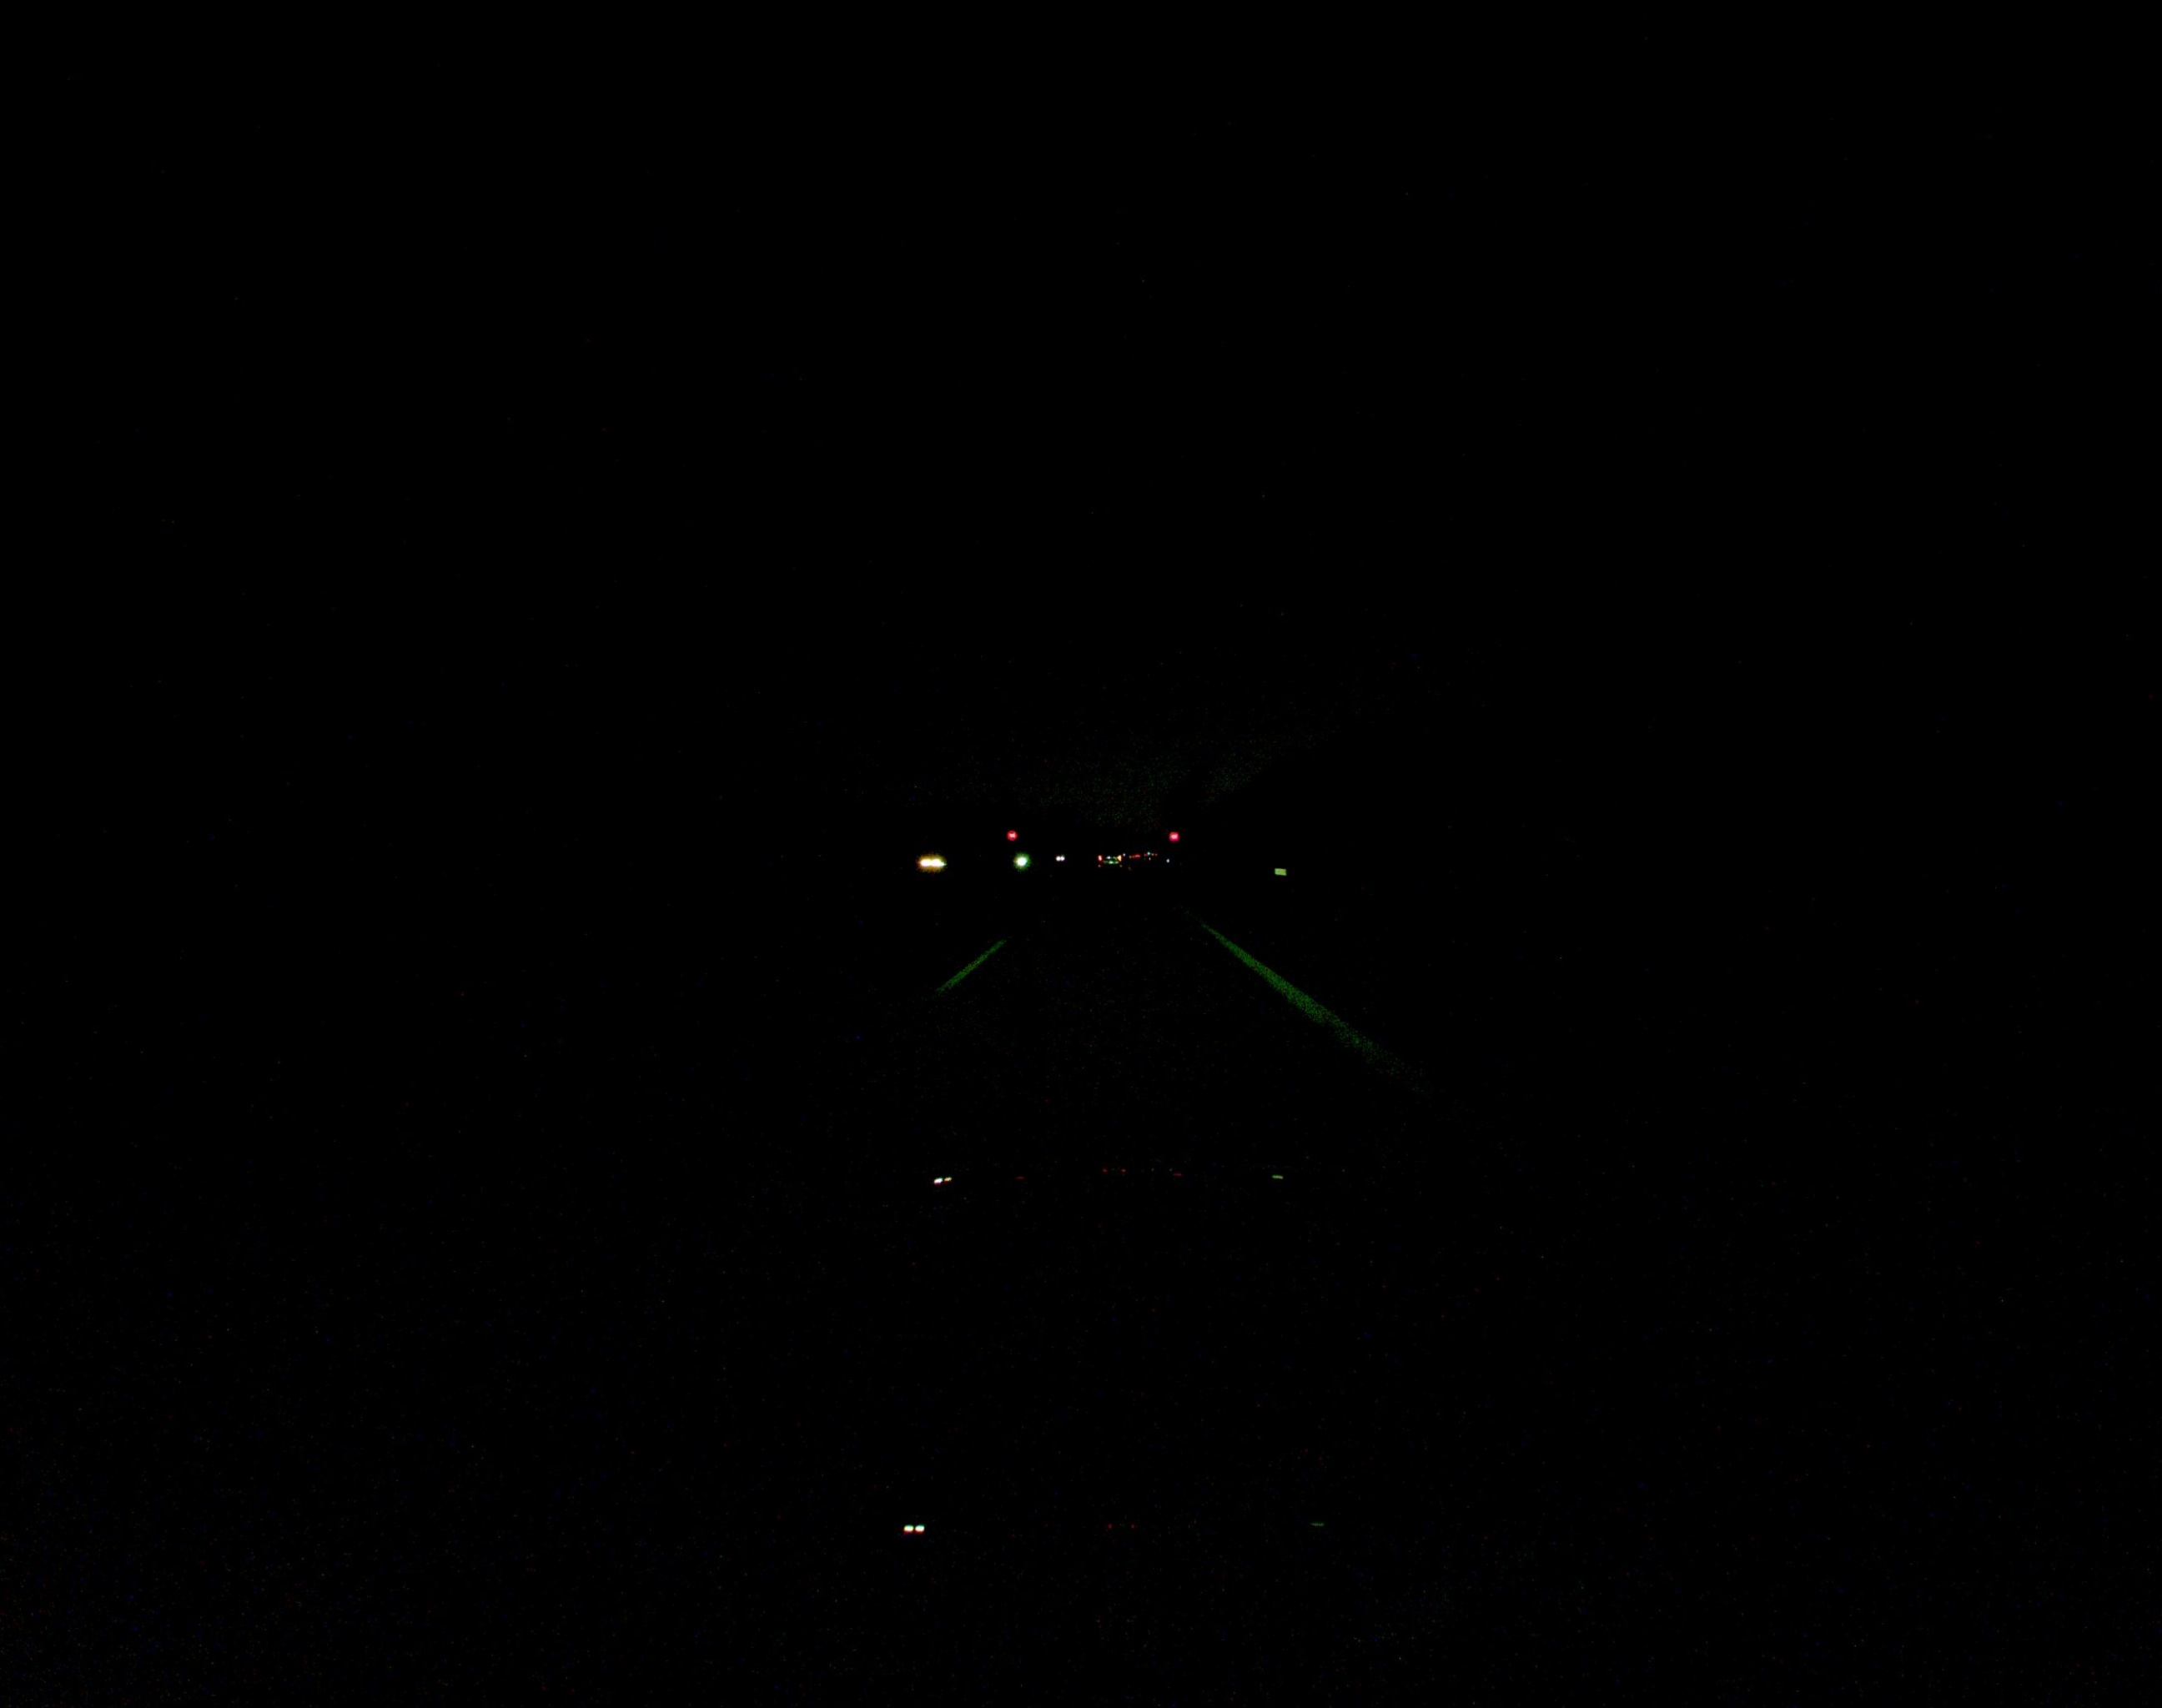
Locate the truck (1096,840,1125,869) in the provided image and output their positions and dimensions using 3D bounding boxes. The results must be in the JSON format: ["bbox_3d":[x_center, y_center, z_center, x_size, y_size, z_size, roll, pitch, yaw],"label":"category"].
[{"bbox_3d":[2.869,0.046,78.368,2.620,2.624,8.689,0,0,2],"label":"truck"}]

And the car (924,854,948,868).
[{"bbox_3d":[-18.391,0.899,103.572,1.986,1.778,5.092,0,-1,2],"label":"car"}]

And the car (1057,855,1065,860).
[{"bbox_3d":[-5.528,1.016,229.354,1.985,1.602,4.215,0,-1,2],"label":"car"}]
